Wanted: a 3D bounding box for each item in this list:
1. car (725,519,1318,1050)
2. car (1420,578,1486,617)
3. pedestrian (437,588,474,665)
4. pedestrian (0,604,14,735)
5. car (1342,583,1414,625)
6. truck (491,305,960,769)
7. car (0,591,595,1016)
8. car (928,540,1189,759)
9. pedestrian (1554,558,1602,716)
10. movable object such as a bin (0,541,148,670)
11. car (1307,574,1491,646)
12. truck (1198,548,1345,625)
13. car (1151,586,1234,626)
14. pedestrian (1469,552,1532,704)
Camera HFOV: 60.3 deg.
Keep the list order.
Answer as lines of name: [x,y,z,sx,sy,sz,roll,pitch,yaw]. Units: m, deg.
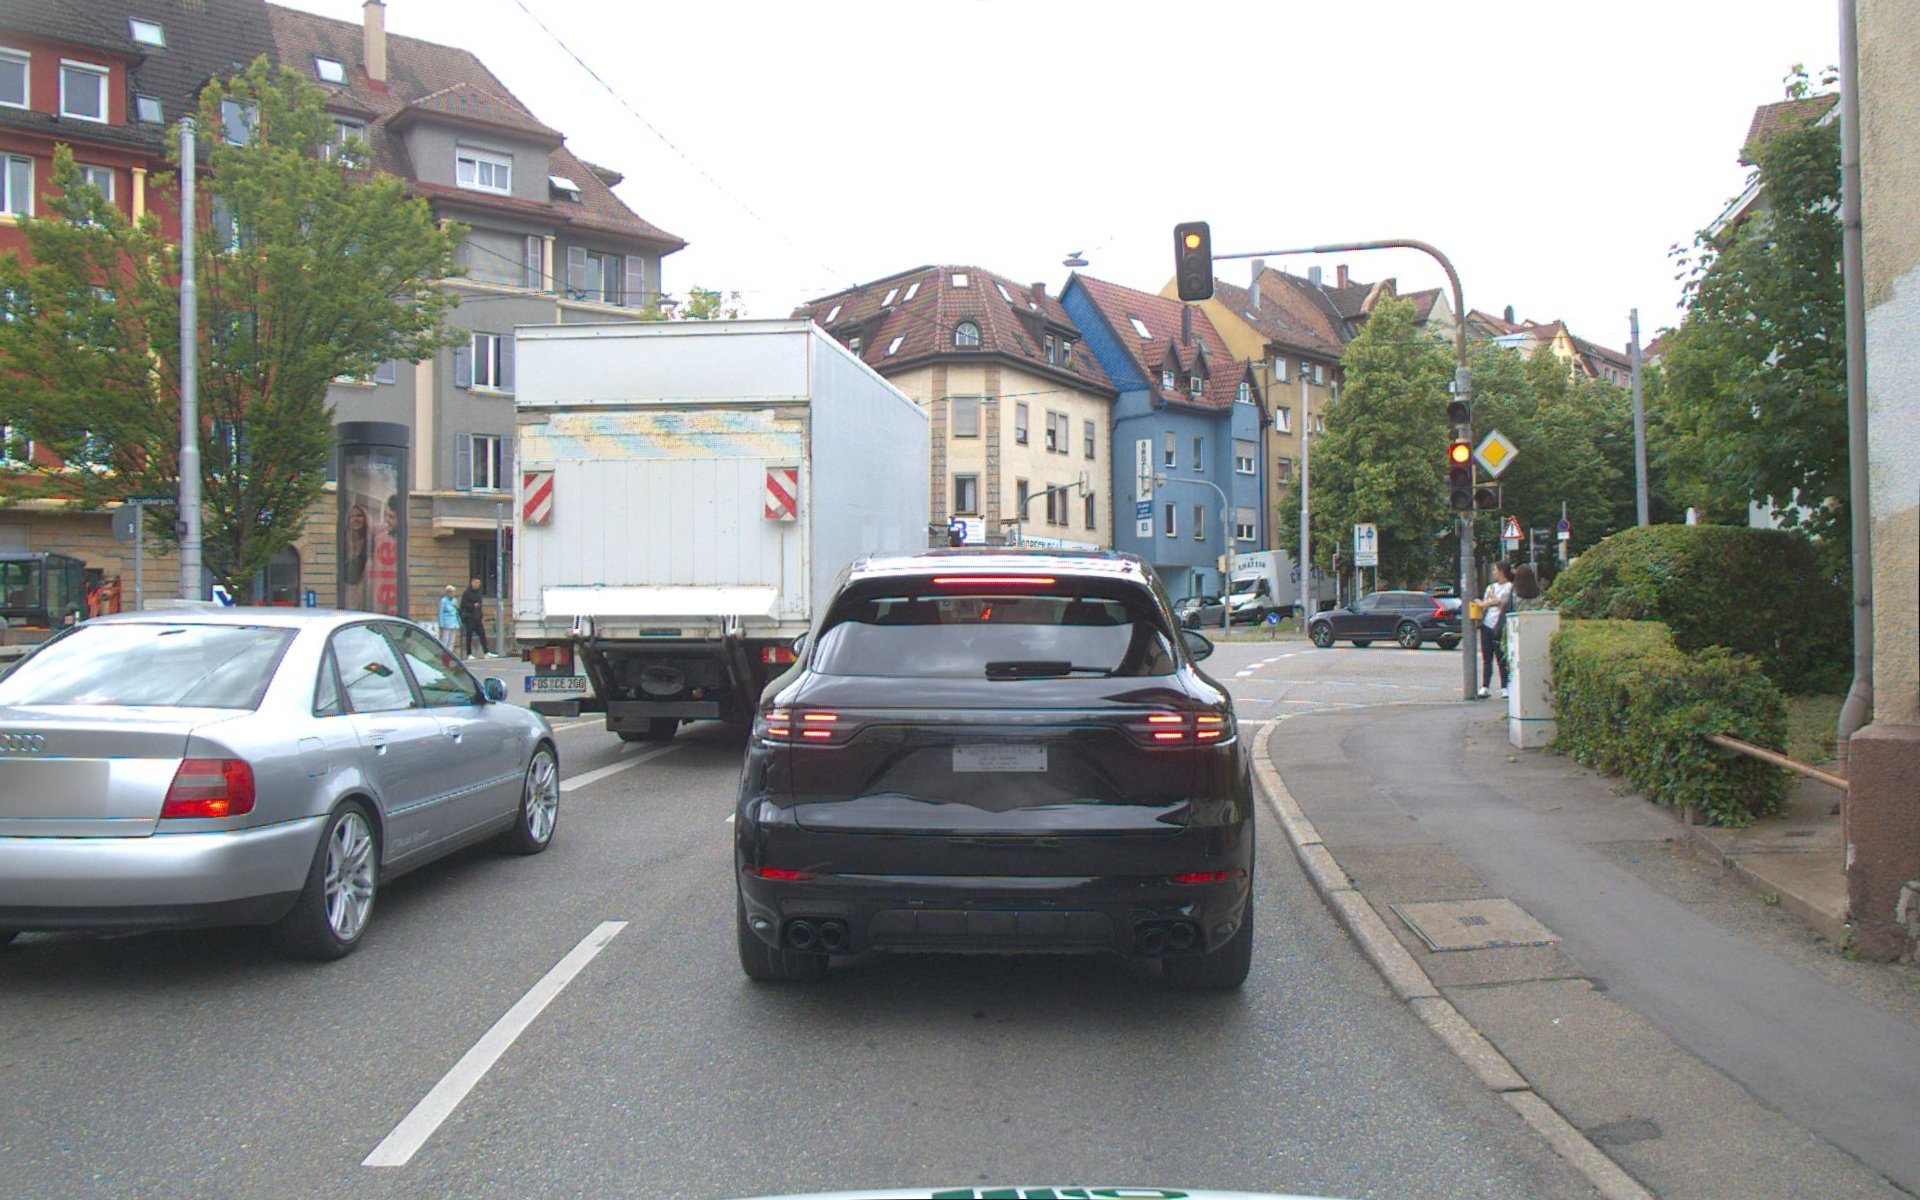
car: [0.092,0.568,7.389,1.939,1.713,3.997,0,1,-4]
car: [27.652,-0.131,92.745,1.965,2.049,3.975,2,0,42]
pedestrian: [-10.609,0.551,34.795,0.577,1.594,0.486,2,-1,-1]
pedestrian: [-13.277,0.941,22.563,0.537,1.760,0.586,2,-1,-35]
car: [21.927,0.208,86.723,1.965,2.049,3.975,2,0,42]
truck: [-1.889,-0.545,17.138,2.710,3.637,8.071,0,1,8]
car: [-3.148,0.684,7.795,1.660,1.397,4.180,0,1,4]
car: [1.041,0.389,15.072,1.951,1.713,4.003,0,0,10]
pedestrian: [7.419,0.441,19.859,0.453,1.869,0.324,2,-1,14]
movable object such as a bin: [-13.978,0.062,25.362,1.870,1.802,3.986,2,0,-14]
car: [11.735,0.318,44.453,1.910,1.803,4.586,2,-2,-38]
truck: [14.932,-0.597,78.759,2.830,3.398,8.744,2,0,41]
car: [10.165,0.264,72.014,1.960,1.713,3.985,0,0,36]
pedestrian: [6.734,0.342,20.630,0.577,1.851,0.529,2,-1,3]
